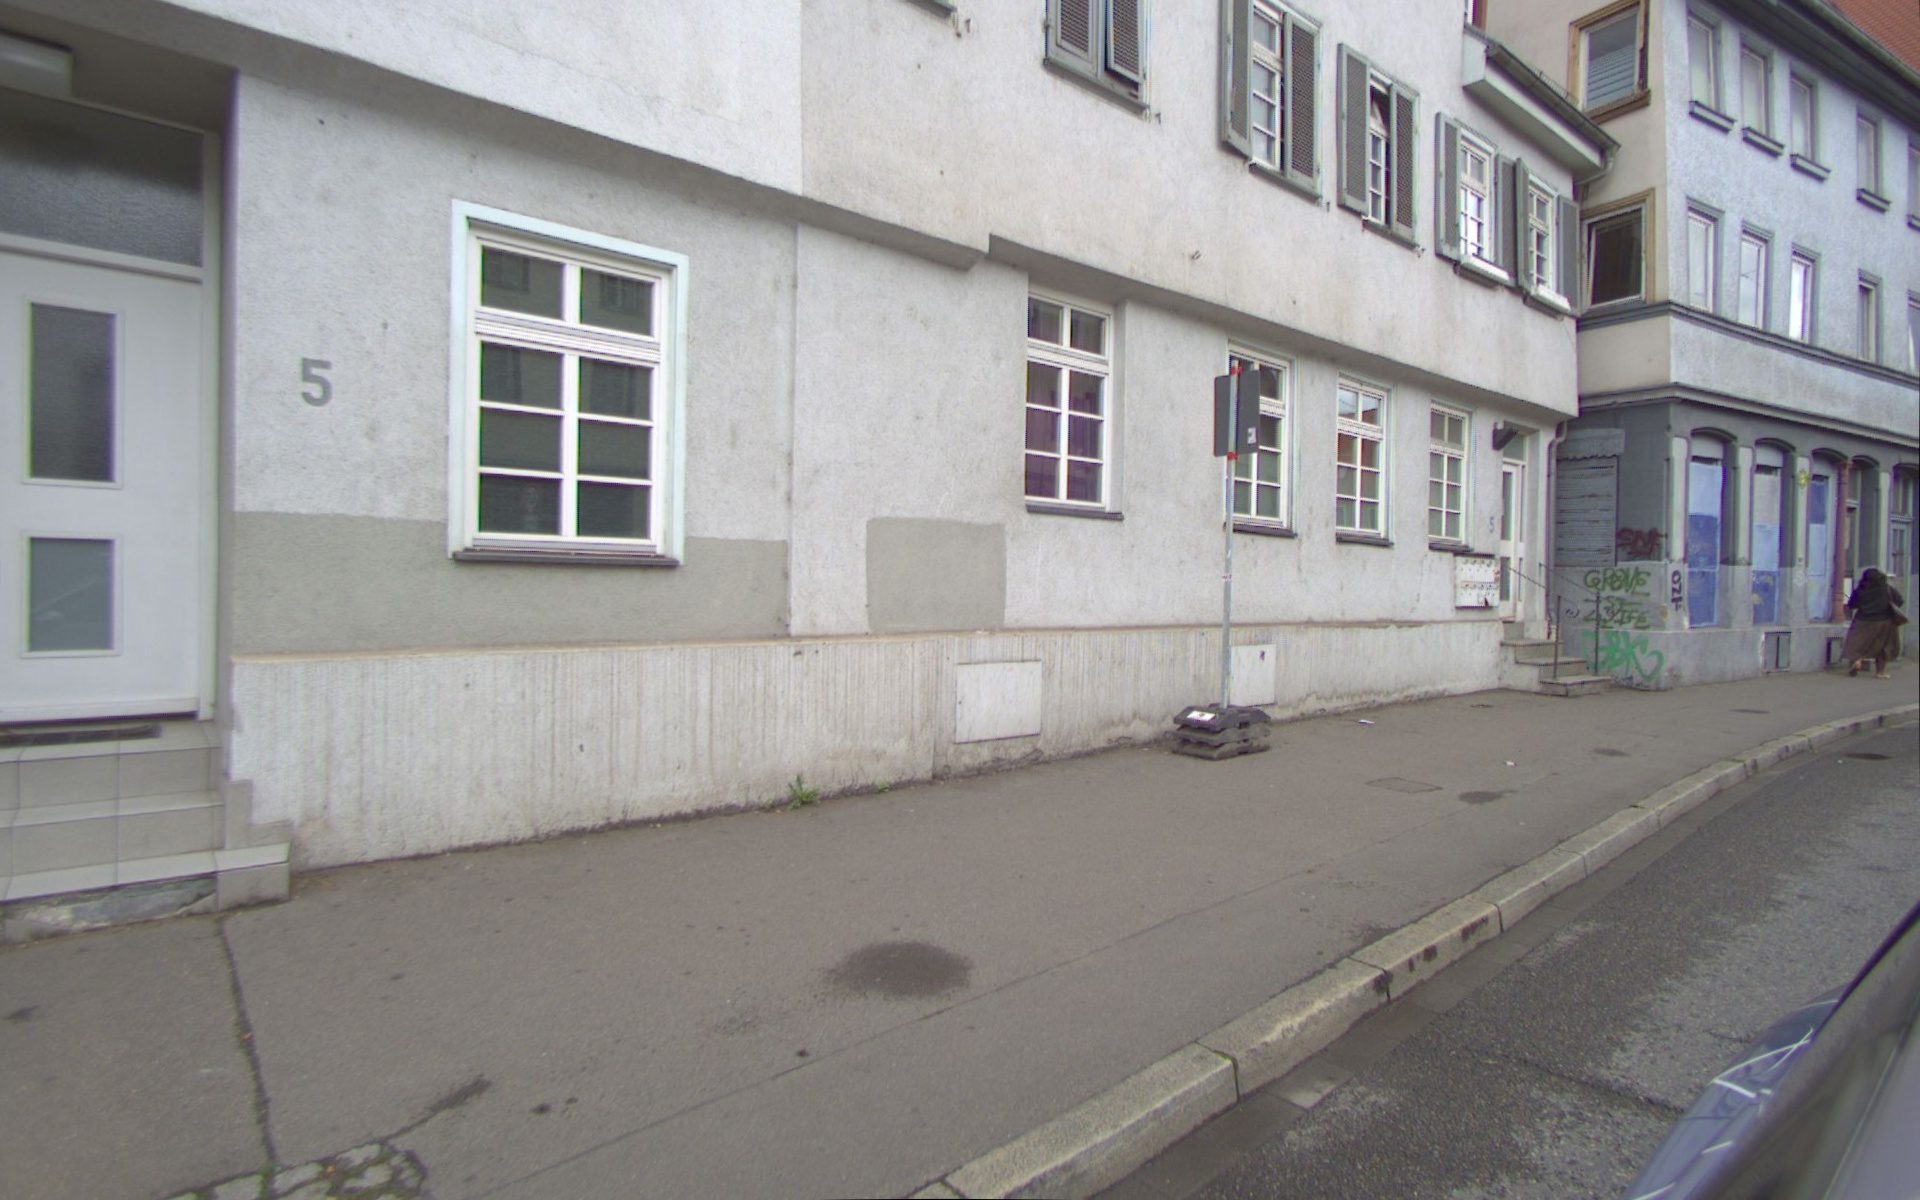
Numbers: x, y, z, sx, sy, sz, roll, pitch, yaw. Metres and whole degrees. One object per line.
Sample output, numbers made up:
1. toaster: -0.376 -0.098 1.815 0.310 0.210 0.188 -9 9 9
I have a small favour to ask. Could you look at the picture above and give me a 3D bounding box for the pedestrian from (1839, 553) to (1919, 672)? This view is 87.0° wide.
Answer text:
1. pedestrian: 13.808 0.169 15.075 0.793 1.687 0.759 1 3 -30
